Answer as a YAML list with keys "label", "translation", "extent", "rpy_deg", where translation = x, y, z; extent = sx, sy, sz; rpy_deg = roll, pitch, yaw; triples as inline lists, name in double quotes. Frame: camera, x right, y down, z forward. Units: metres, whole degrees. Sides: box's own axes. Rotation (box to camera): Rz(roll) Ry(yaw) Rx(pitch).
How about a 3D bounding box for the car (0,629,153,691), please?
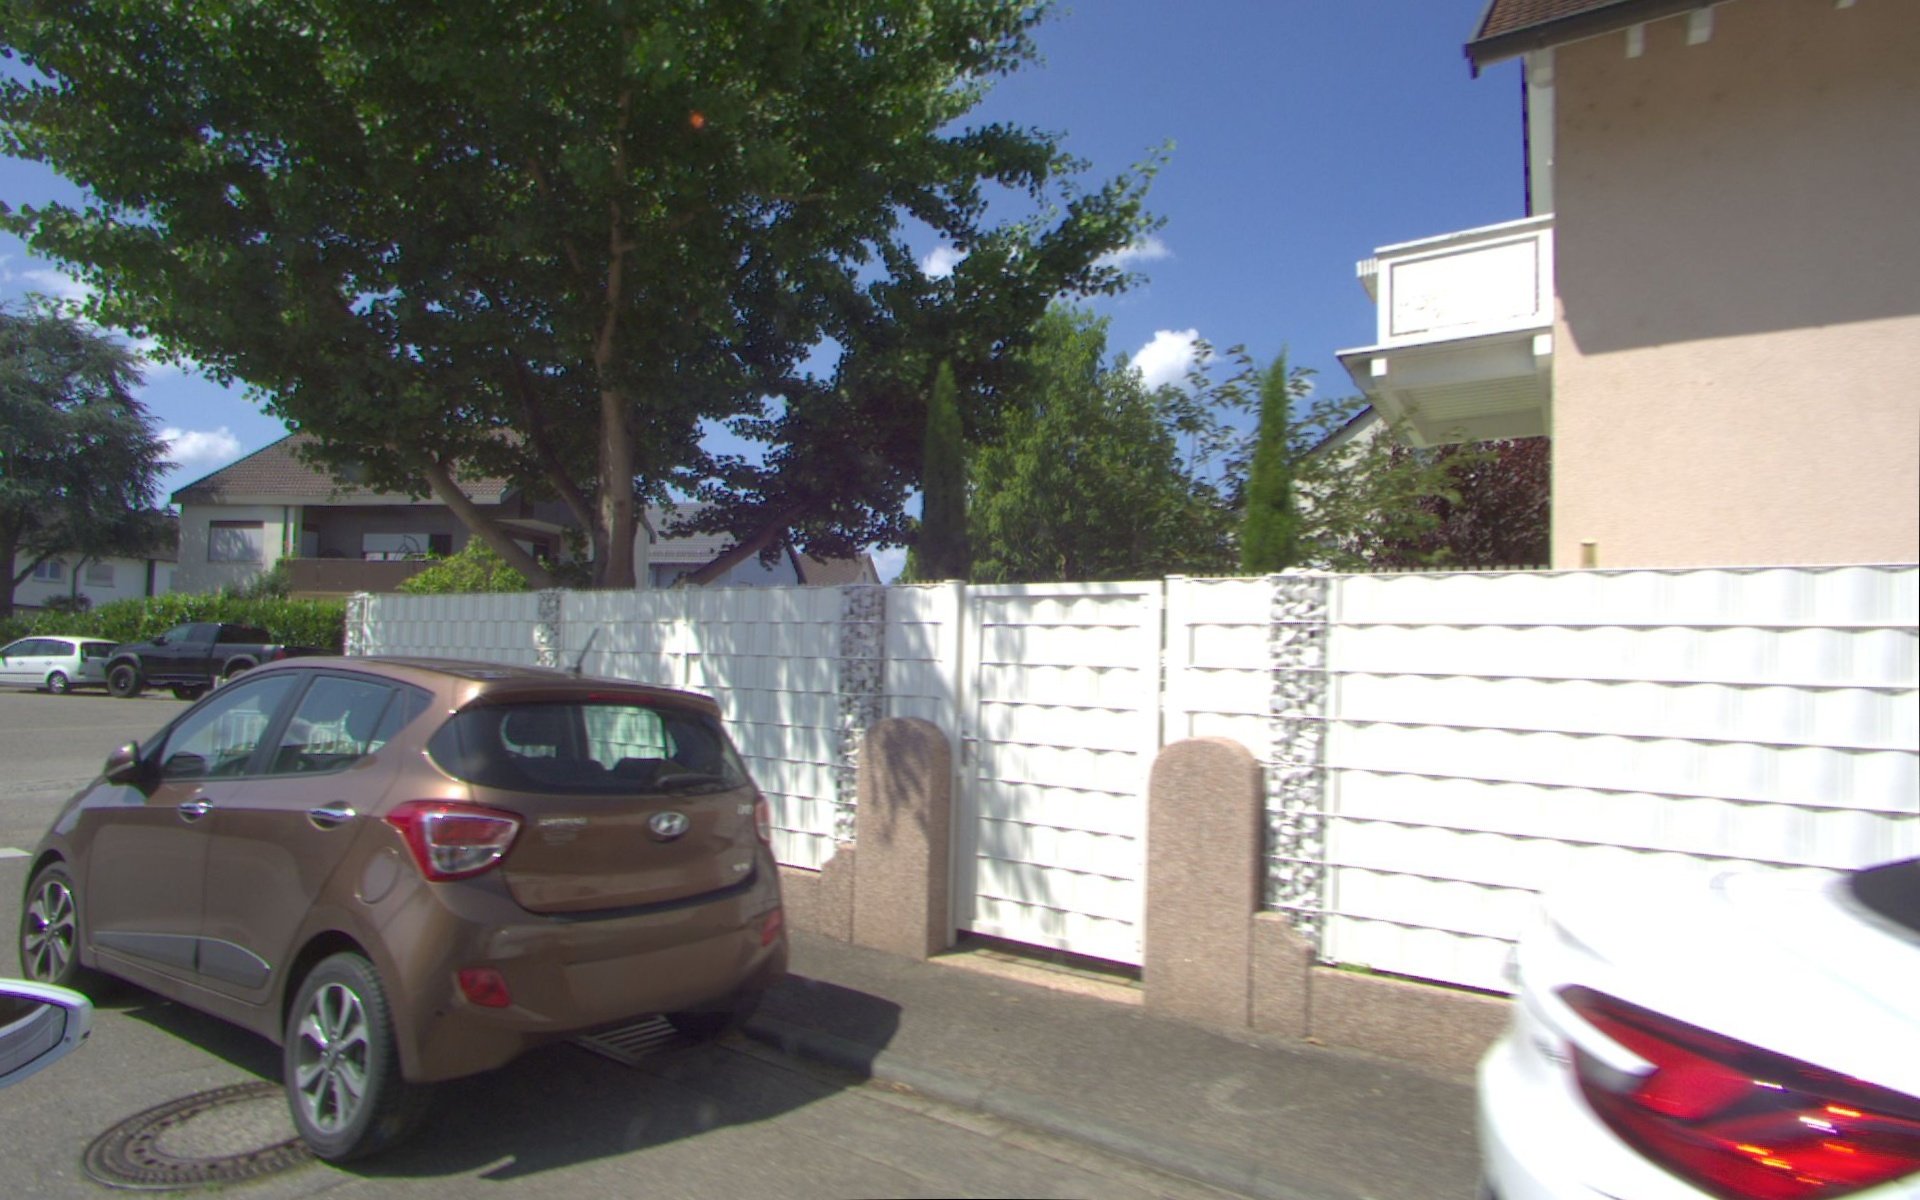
- label: "car"
  translation: [-25.674, 1.690, 28.565]
  extent: [4.064, 1.582, 1.805]
  rpy_deg: [2, -3, 9]

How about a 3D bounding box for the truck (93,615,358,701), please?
- label: "truck"
  translation: [-19.556, 1.548, 26.808]
  extent: [5.603, 2.038, 2.373]
  rpy_deg: [1, -3, 9]

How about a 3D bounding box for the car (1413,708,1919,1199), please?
- label: "car"
  translation: [3.071, 0.950, 0.904]
  extent: [4.669, 1.446, 1.894]
  rpy_deg: [-1, -4, 32]

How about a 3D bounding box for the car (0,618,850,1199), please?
- label: "car"
  translation: [-2.631, 0.953, 4.461]
  extent: [3.977, 1.549, 1.713]
  rpy_deg: [-1, -7, 32]
